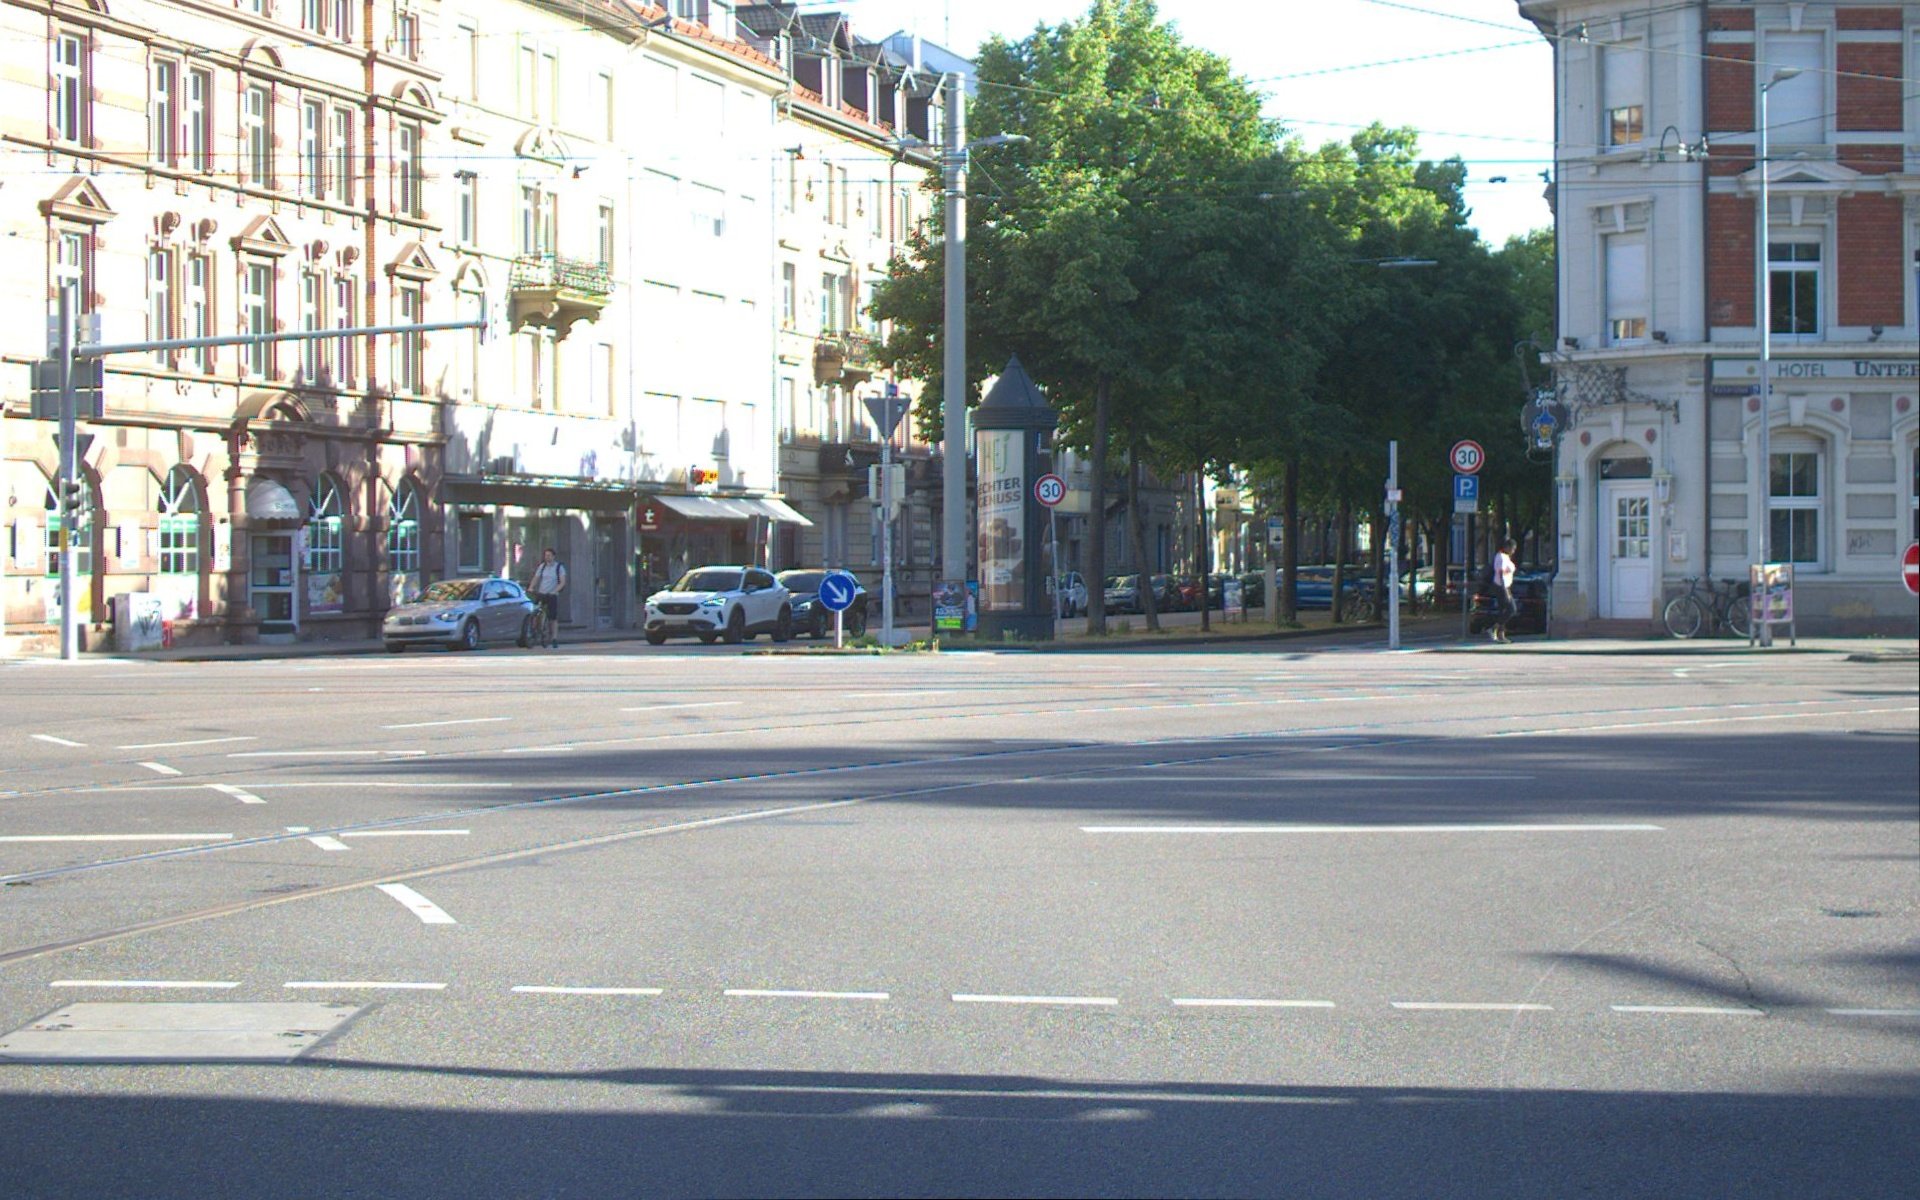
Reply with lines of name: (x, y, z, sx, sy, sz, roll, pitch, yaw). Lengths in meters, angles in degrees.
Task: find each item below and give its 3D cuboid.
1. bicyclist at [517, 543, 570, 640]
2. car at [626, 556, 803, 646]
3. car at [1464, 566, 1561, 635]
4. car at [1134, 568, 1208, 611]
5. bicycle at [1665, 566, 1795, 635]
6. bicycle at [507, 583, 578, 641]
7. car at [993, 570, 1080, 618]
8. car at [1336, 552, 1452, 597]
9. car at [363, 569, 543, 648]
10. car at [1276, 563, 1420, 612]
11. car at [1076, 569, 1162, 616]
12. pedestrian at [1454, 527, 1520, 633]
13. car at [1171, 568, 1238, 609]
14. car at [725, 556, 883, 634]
bicyclist: (-7.876, -0.161, 65.063, 0.679, 1.814, 1.070, 0, 1, 12)
car: (-4.762, -0.015, 67.341, 1.995, 1.678, 4.387, 0, 1, 17)
car: (13.271, -0.007, 82.457, 1.995, 1.579, 3.998, 0, 1, 14)
car: (8.035, -0.412, 130.471, 1.839, 1.547, 4.387, 0, 1, 17)
bicycle: (12.859, 0.012, 57.406, 2.085, 1.120, 0.367, 1, 0, -4)
bicycle: (-7.886, 0.219, 65.027, 0.680, 1.062, 2.124, 0, 1, 12)
car: (2.488, -0.218, 110.979, 1.995, 1.481, 3.998, 0, 1, 14)
car: (16.863, -1.007, 133.641, 3.993, 1.700, 1.997, 0, 1, 30)
car: (-9.850, 0.151, 67.066, 1.900, 1.450, 3.997, 0, 1, 17)
car: (13.011, -0.432, 115.413, 4.382, 1.606, 1.997, 0, 1, 27)
car: (5.708, -0.294, 122.681, 1.995, 1.607, 4.387, 0, 1, 17)
pedestrian: (8.749, -0.340, 57.077, 1.046, 1.738, 0.808, 0, 1, 6)
car: (9.701, -0.461, 136.348, 1.766, 1.544, 4.387, 0, 1, 16)
car: (-3.316, -0.133, 73.855, 1.995, 1.606, 4.387, 0, 1, 17)
